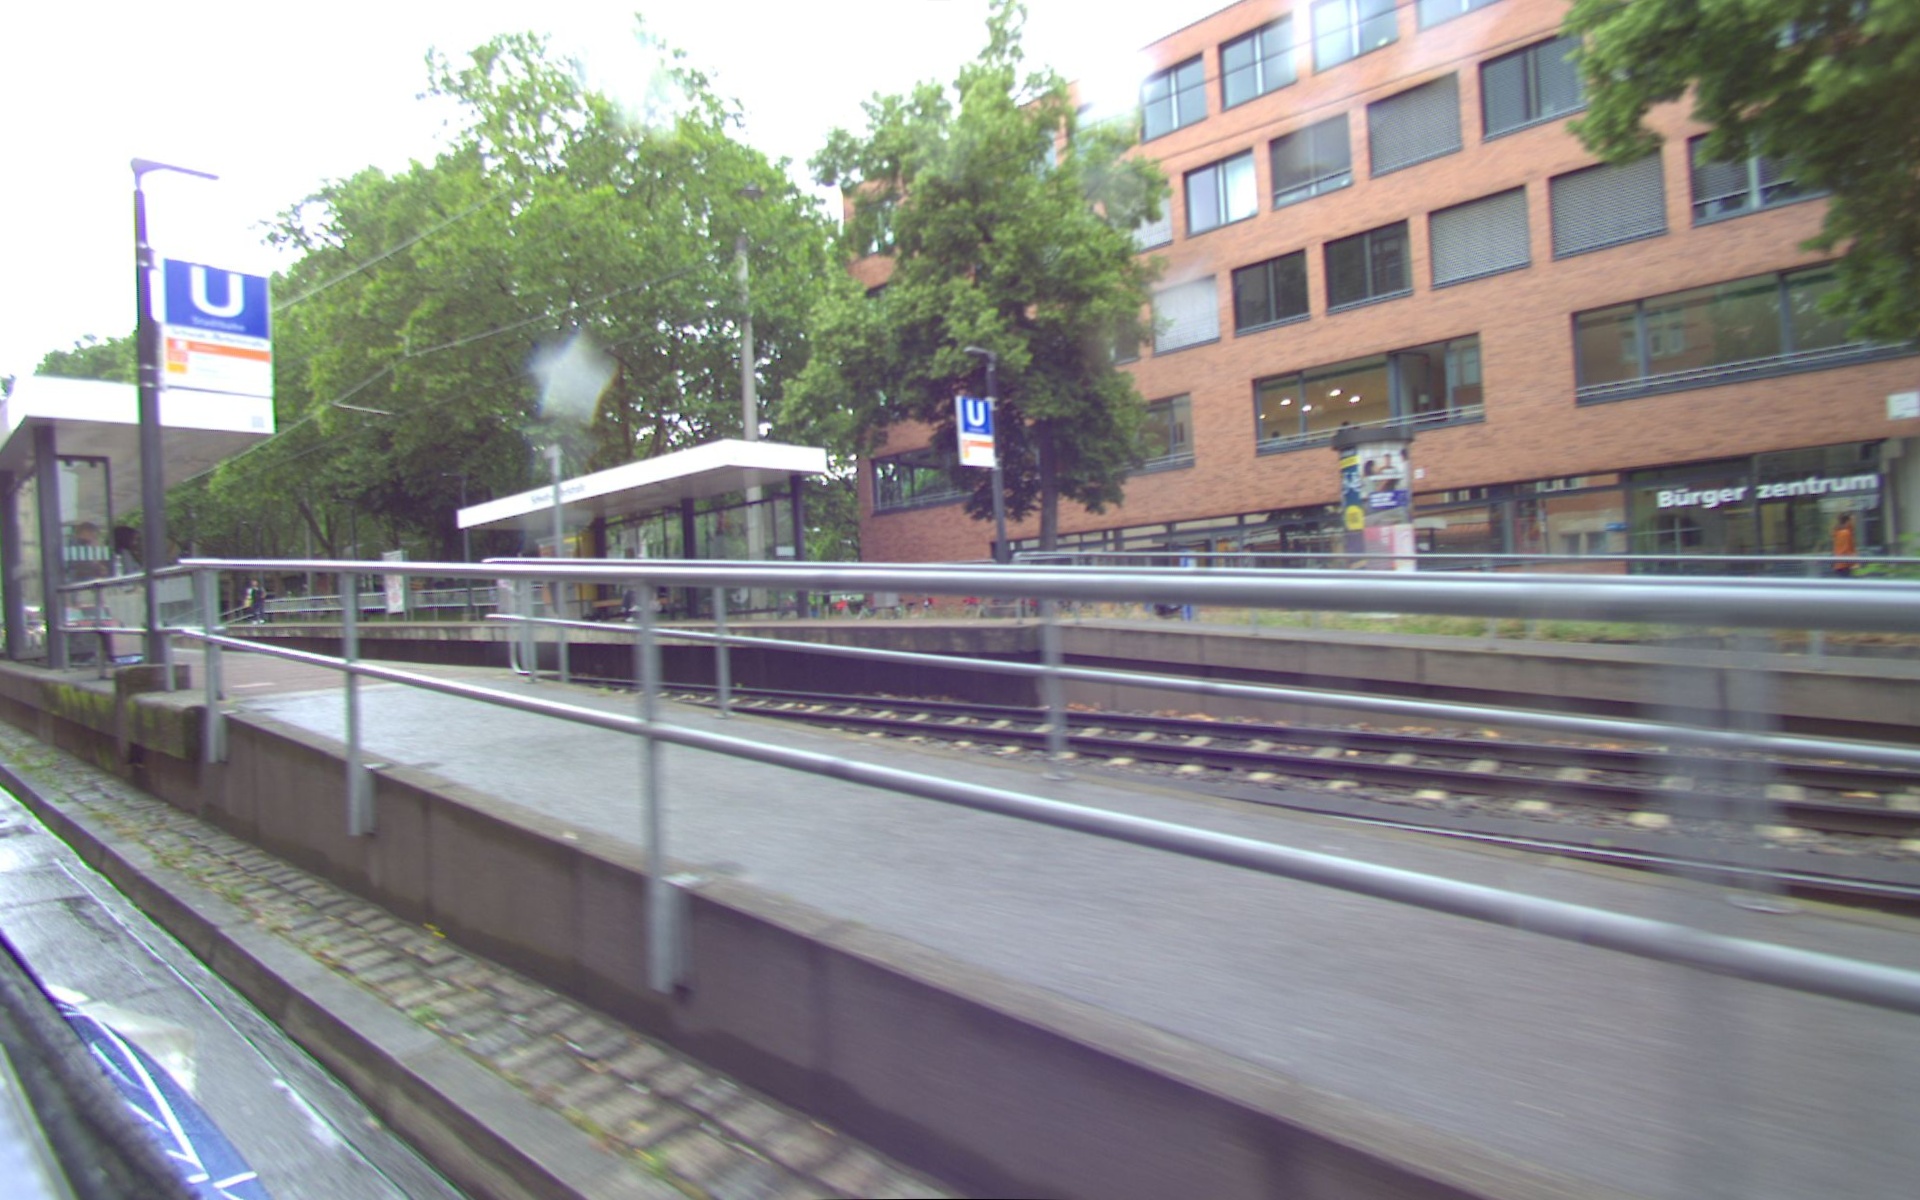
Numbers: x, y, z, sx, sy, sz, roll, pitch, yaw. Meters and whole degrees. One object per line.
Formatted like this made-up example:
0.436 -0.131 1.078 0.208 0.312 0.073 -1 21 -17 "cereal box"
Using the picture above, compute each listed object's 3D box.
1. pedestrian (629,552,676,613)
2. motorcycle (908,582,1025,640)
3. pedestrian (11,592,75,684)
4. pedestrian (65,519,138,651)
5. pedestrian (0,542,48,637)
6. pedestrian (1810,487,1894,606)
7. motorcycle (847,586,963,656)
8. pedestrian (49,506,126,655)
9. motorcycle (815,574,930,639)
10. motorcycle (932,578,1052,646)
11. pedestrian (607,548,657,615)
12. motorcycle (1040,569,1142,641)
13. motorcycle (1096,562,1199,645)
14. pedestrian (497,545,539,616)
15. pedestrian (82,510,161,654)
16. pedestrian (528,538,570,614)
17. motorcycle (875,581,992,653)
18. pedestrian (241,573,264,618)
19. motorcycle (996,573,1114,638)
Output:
-6.493 -0.373 21.385 0.563 1.249 0.697 -2 1 39 "pedestrian"
0.250 0.262 27.876 1.005 1.417 3.826 -1 1 39 "motorcycle"
-12.776 0.516 14.097 0.507 1.236 0.607 -2 0 44 "pedestrian"
-10.653 -0.184 12.561 0.507 1.593 0.607 -2 0 44 "pedestrian"
-16.186 -0.182 17.499 0.489 1.617 0.638 -2 0 -32 "pedestrian"
15.851 -0.933 18.015 0.978 2.029 0.727 -2 0 33 "pedestrian"
-1.545 0.570 29.425 1.005 1.829 3.826 -1 1 39 "motorcycle"
-10.364 -0.228 12.018 0.587 1.700 0.607 -2 0 44 "pedestrian"
-2.544 0.145 30.320 1.005 1.787 3.826 -1 1 39 "motorcycle"
0.916 0.265 26.813 1.005 1.617 3.826 -1 1 39 "motorcycle"
-7.025 -0.401 21.696 0.563 1.373 0.770 -2 1 39 "pedestrian"
3.289 0.093 25.089 1.005 1.639 3.028 -1 1 39 "motorcycle"
4.433 0.039 23.699 0.992 1.829 3.006 -1 1 39 "motorcycle"
-10.635 -0.473 24.374 0.563 1.653 0.680 -2 1 39 "pedestrian"
-9.572 -0.205 11.550 0.507 1.593 0.607 -2 0 44 "pedestrian"
-9.517 -0.556 23.454 0.705 1.728 0.557 -2 1 39 "pedestrian"
-0.685 0.433 28.670 1.005 1.829 3.826 -1 1 39 "motorcycle"
-26.743 -0.181 38.254 0.555 1.653 0.689 -3 1 -42 "pedestrian"
2.505 0.111 25.919 1.005 1.499 3.826 -1 1 39 "motorcycle"
